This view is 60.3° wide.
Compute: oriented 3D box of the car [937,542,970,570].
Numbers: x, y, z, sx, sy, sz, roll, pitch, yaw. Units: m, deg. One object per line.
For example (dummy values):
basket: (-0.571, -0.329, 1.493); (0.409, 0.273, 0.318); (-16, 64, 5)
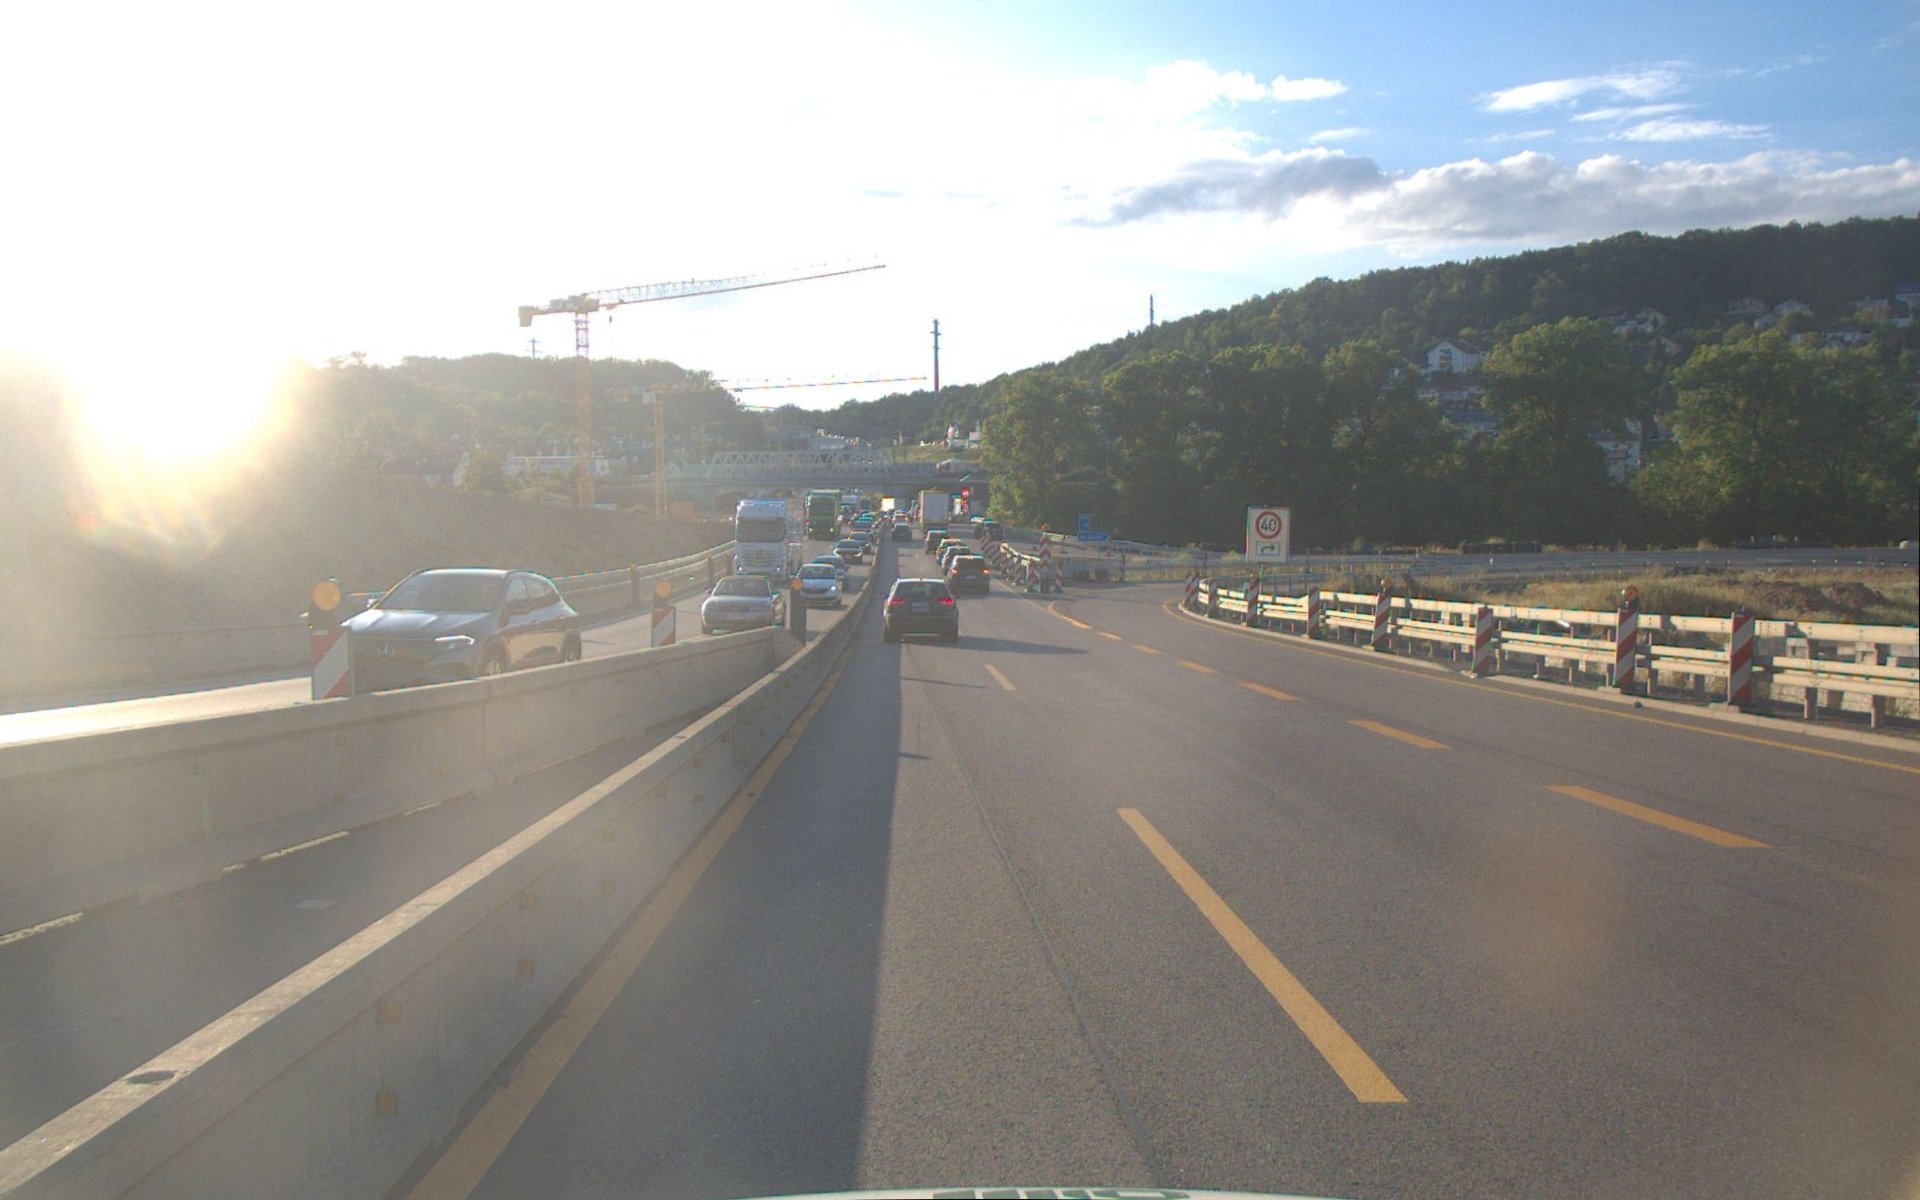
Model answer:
car: (-0.422, -2.829, 105.675); (1.838, 1.627, 4.964); (0, 3, -3)

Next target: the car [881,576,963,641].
car: (-0.941, 0.165, 38.883); (1.735, 1.414, 3.997); (1, 1, -4)

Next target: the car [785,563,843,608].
car: (-5.198, -0.536, 59.209); (1.752, 1.514, 4.219); (1, 1, -1)

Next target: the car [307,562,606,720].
car: (-5.933, 0.414, 20.187); (1.751, 1.648, 4.877); (1, 1, 5)

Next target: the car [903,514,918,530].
car: (-6.480, -10.285, 218.391); (1.885, 1.579, 3.998); (3, -3, -2)

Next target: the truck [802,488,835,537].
truck: (-12.387, -7.692, 144.928); (2.714, 4.151, 5.774); (1, 3, -4)

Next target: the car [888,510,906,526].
car: (-6.969, -9.076, 183.515); (1.884, 1.579, 3.999); (1, 0, -2)

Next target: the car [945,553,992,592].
car: (0.350, -1.215, 73.665); (1.776, 1.643, 4.523); (1, 0, -3)

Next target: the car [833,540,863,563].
car: (-7.198, -3.164, 106.827); (1.799, 1.434, 4.494); (0, 2, -2)

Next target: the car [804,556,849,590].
car: (-6.075, -1.252, 75.834); (1.812, 1.509, 4.510); (0, 1, -1)

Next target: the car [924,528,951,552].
car: (-1.670, -4.411, 122.014); (1.778, 1.660, 4.410); (1, 3, -3)

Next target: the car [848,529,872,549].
car: (-7.326, -4.510, 121.954); (1.681, 1.434, 4.326); (0, 2, -2)

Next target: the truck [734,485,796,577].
truck: (-9.561, -3.329, 81.477); (2.501, 4.294, 6.048); (1, 1, -2)

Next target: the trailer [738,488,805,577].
trailer: (-9.846, -3.481, 87.587); (2.480, 4.286, 13.928); (1, 1, -3)

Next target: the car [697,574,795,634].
car: (-5.340, 0.070, 41.773); (1.752, 1.381, 4.636); (1, 1, 1)

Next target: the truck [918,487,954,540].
truck: (-2.459, -8.663, 163.604); (3.317, 4.574, 15.271); (1, 5, -2)

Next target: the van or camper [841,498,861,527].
van or camper: (-13.737, -11.069, 208.536); (2.408, 3.557, 7.413); (0, 4, -3)

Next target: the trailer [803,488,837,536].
trailer: (-12.757, -8.103, 151.638); (2.718, 4.100, 13.678); (1, 3, -3)

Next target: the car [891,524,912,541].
car: (-5.056, -5.870, 143.683); (1.825, 1.444, 4.000); (1, 2, -2)
